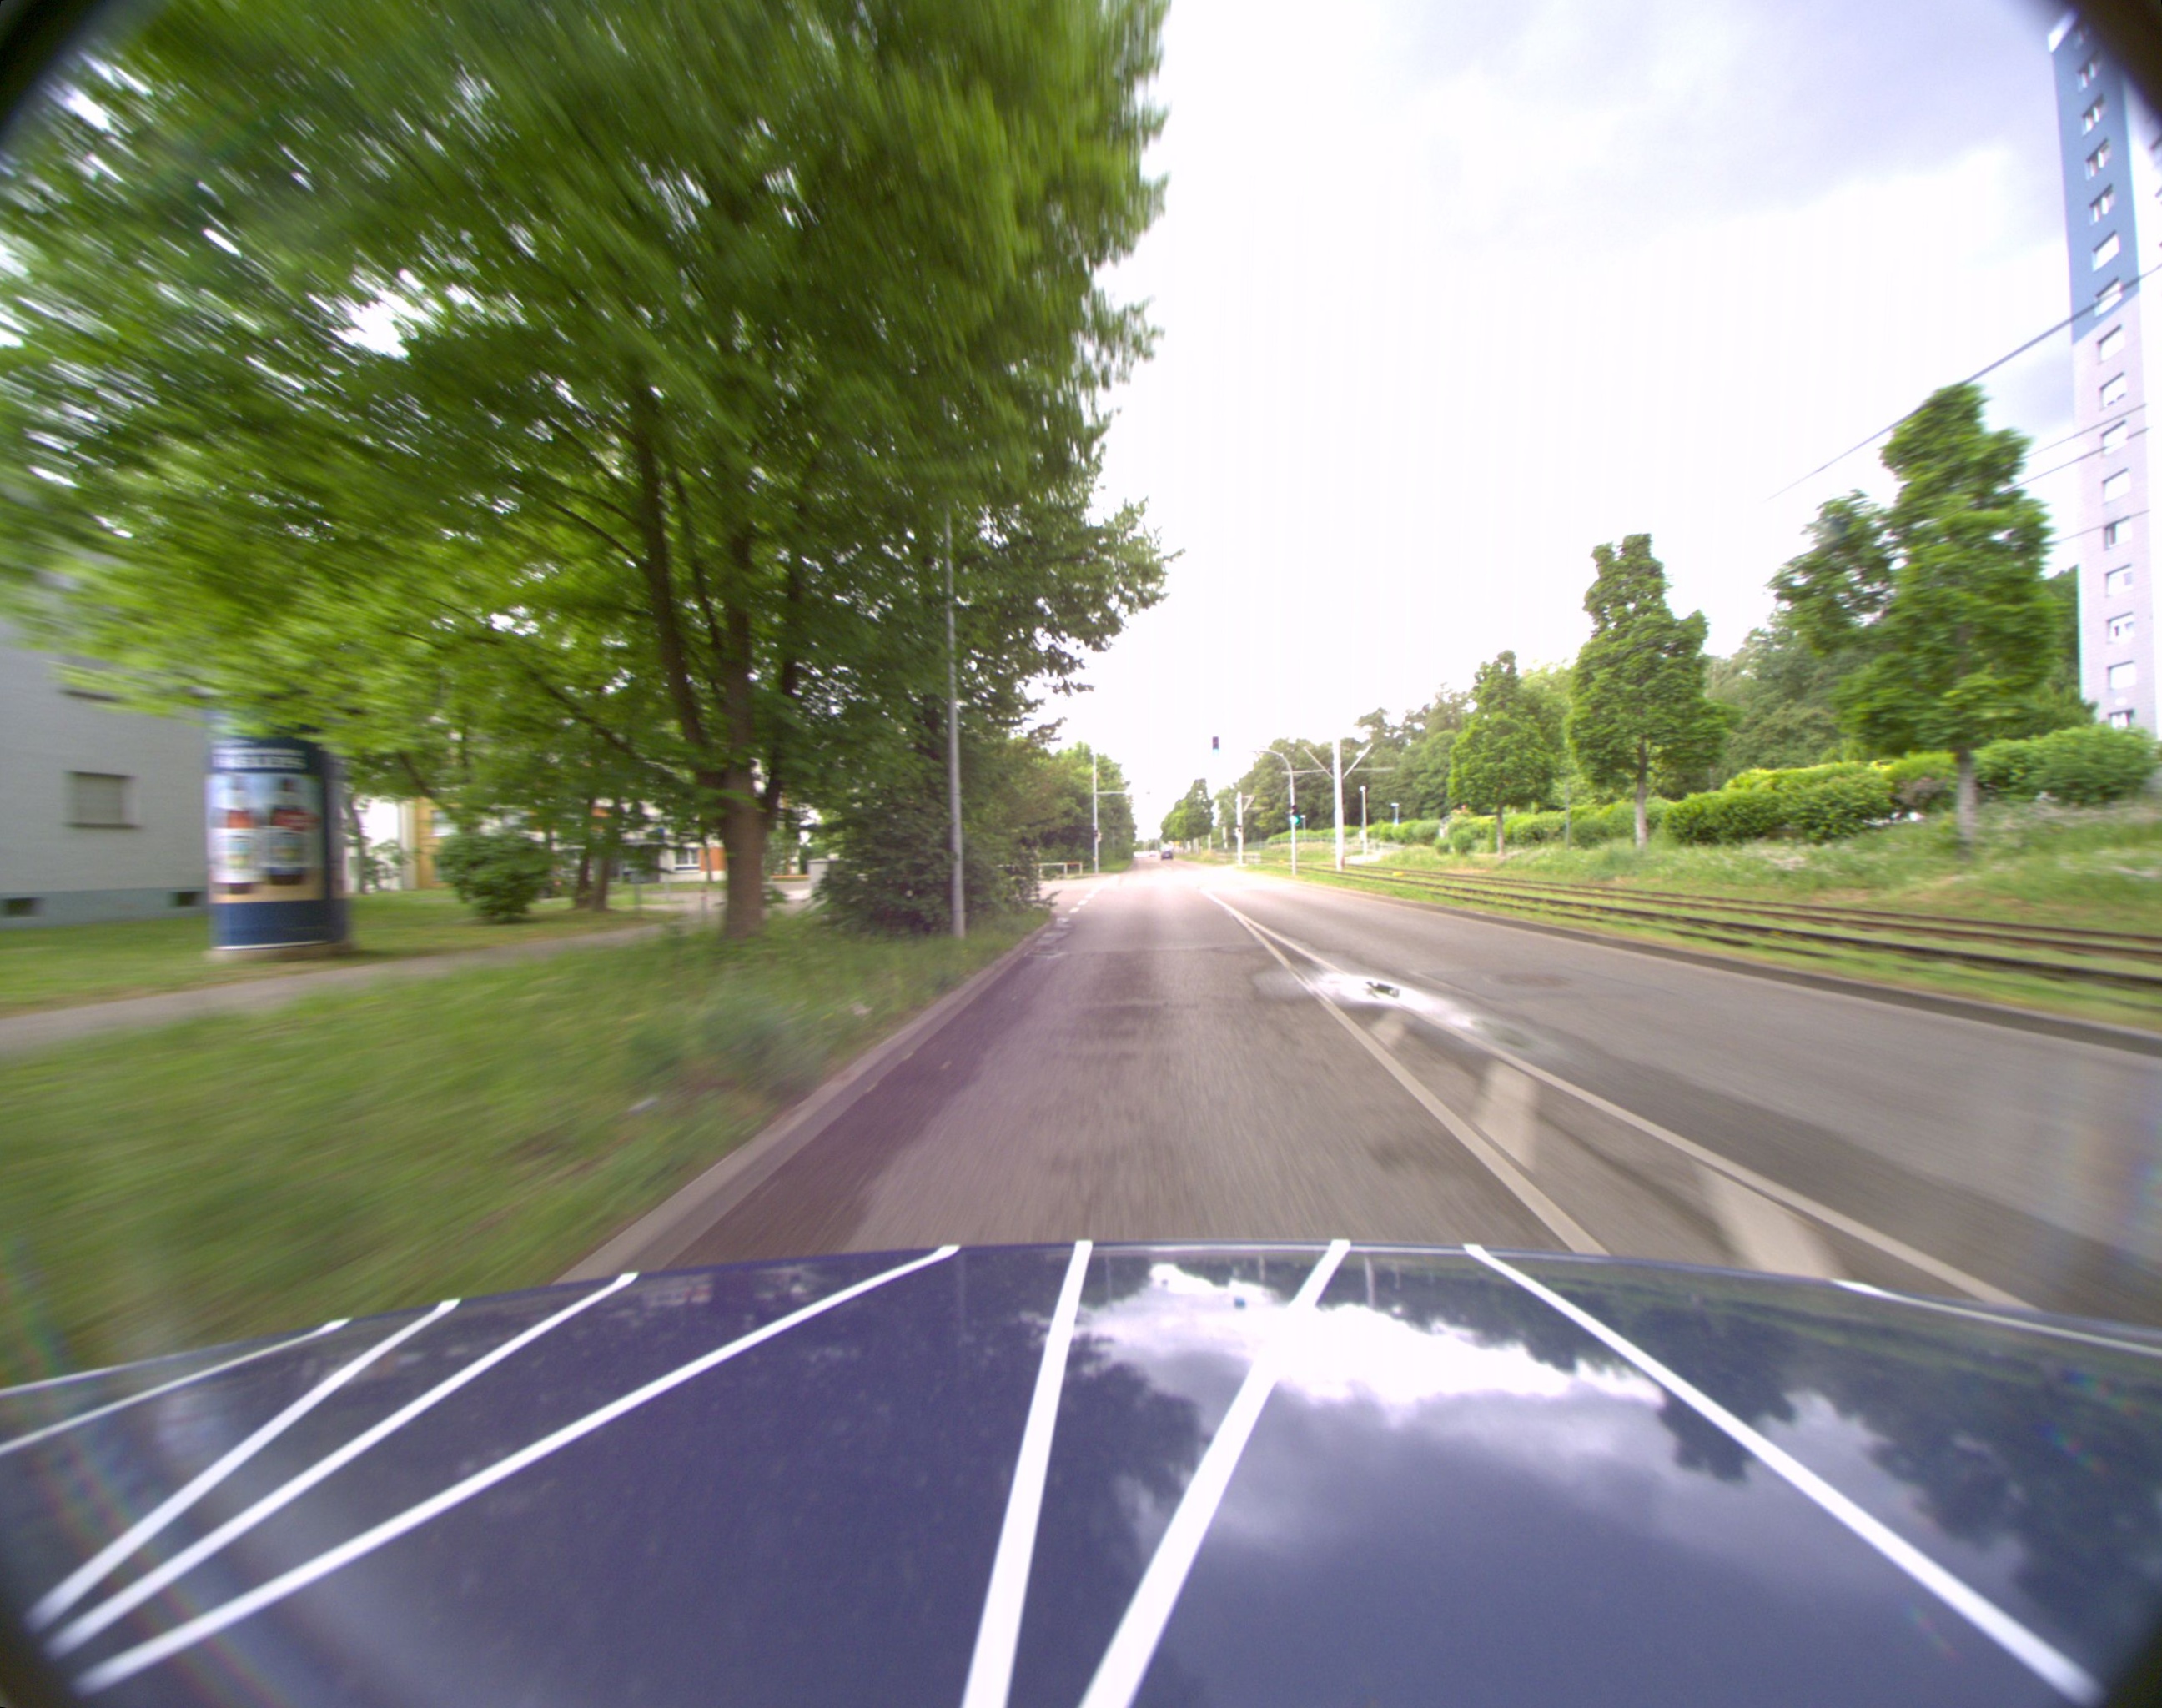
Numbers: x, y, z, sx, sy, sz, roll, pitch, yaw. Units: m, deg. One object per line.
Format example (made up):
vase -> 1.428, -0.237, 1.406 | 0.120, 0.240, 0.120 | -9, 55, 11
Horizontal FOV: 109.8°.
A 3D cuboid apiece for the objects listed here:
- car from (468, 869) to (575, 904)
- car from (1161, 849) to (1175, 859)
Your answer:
car -> -26.995, 1.559, 36.772 | 3.775, 1.456, 1.636 | -2, 1, -14
car -> 13.195, -0.043, 115.618 | 1.854, 1.461, 4.257 | -3, 0, 5
